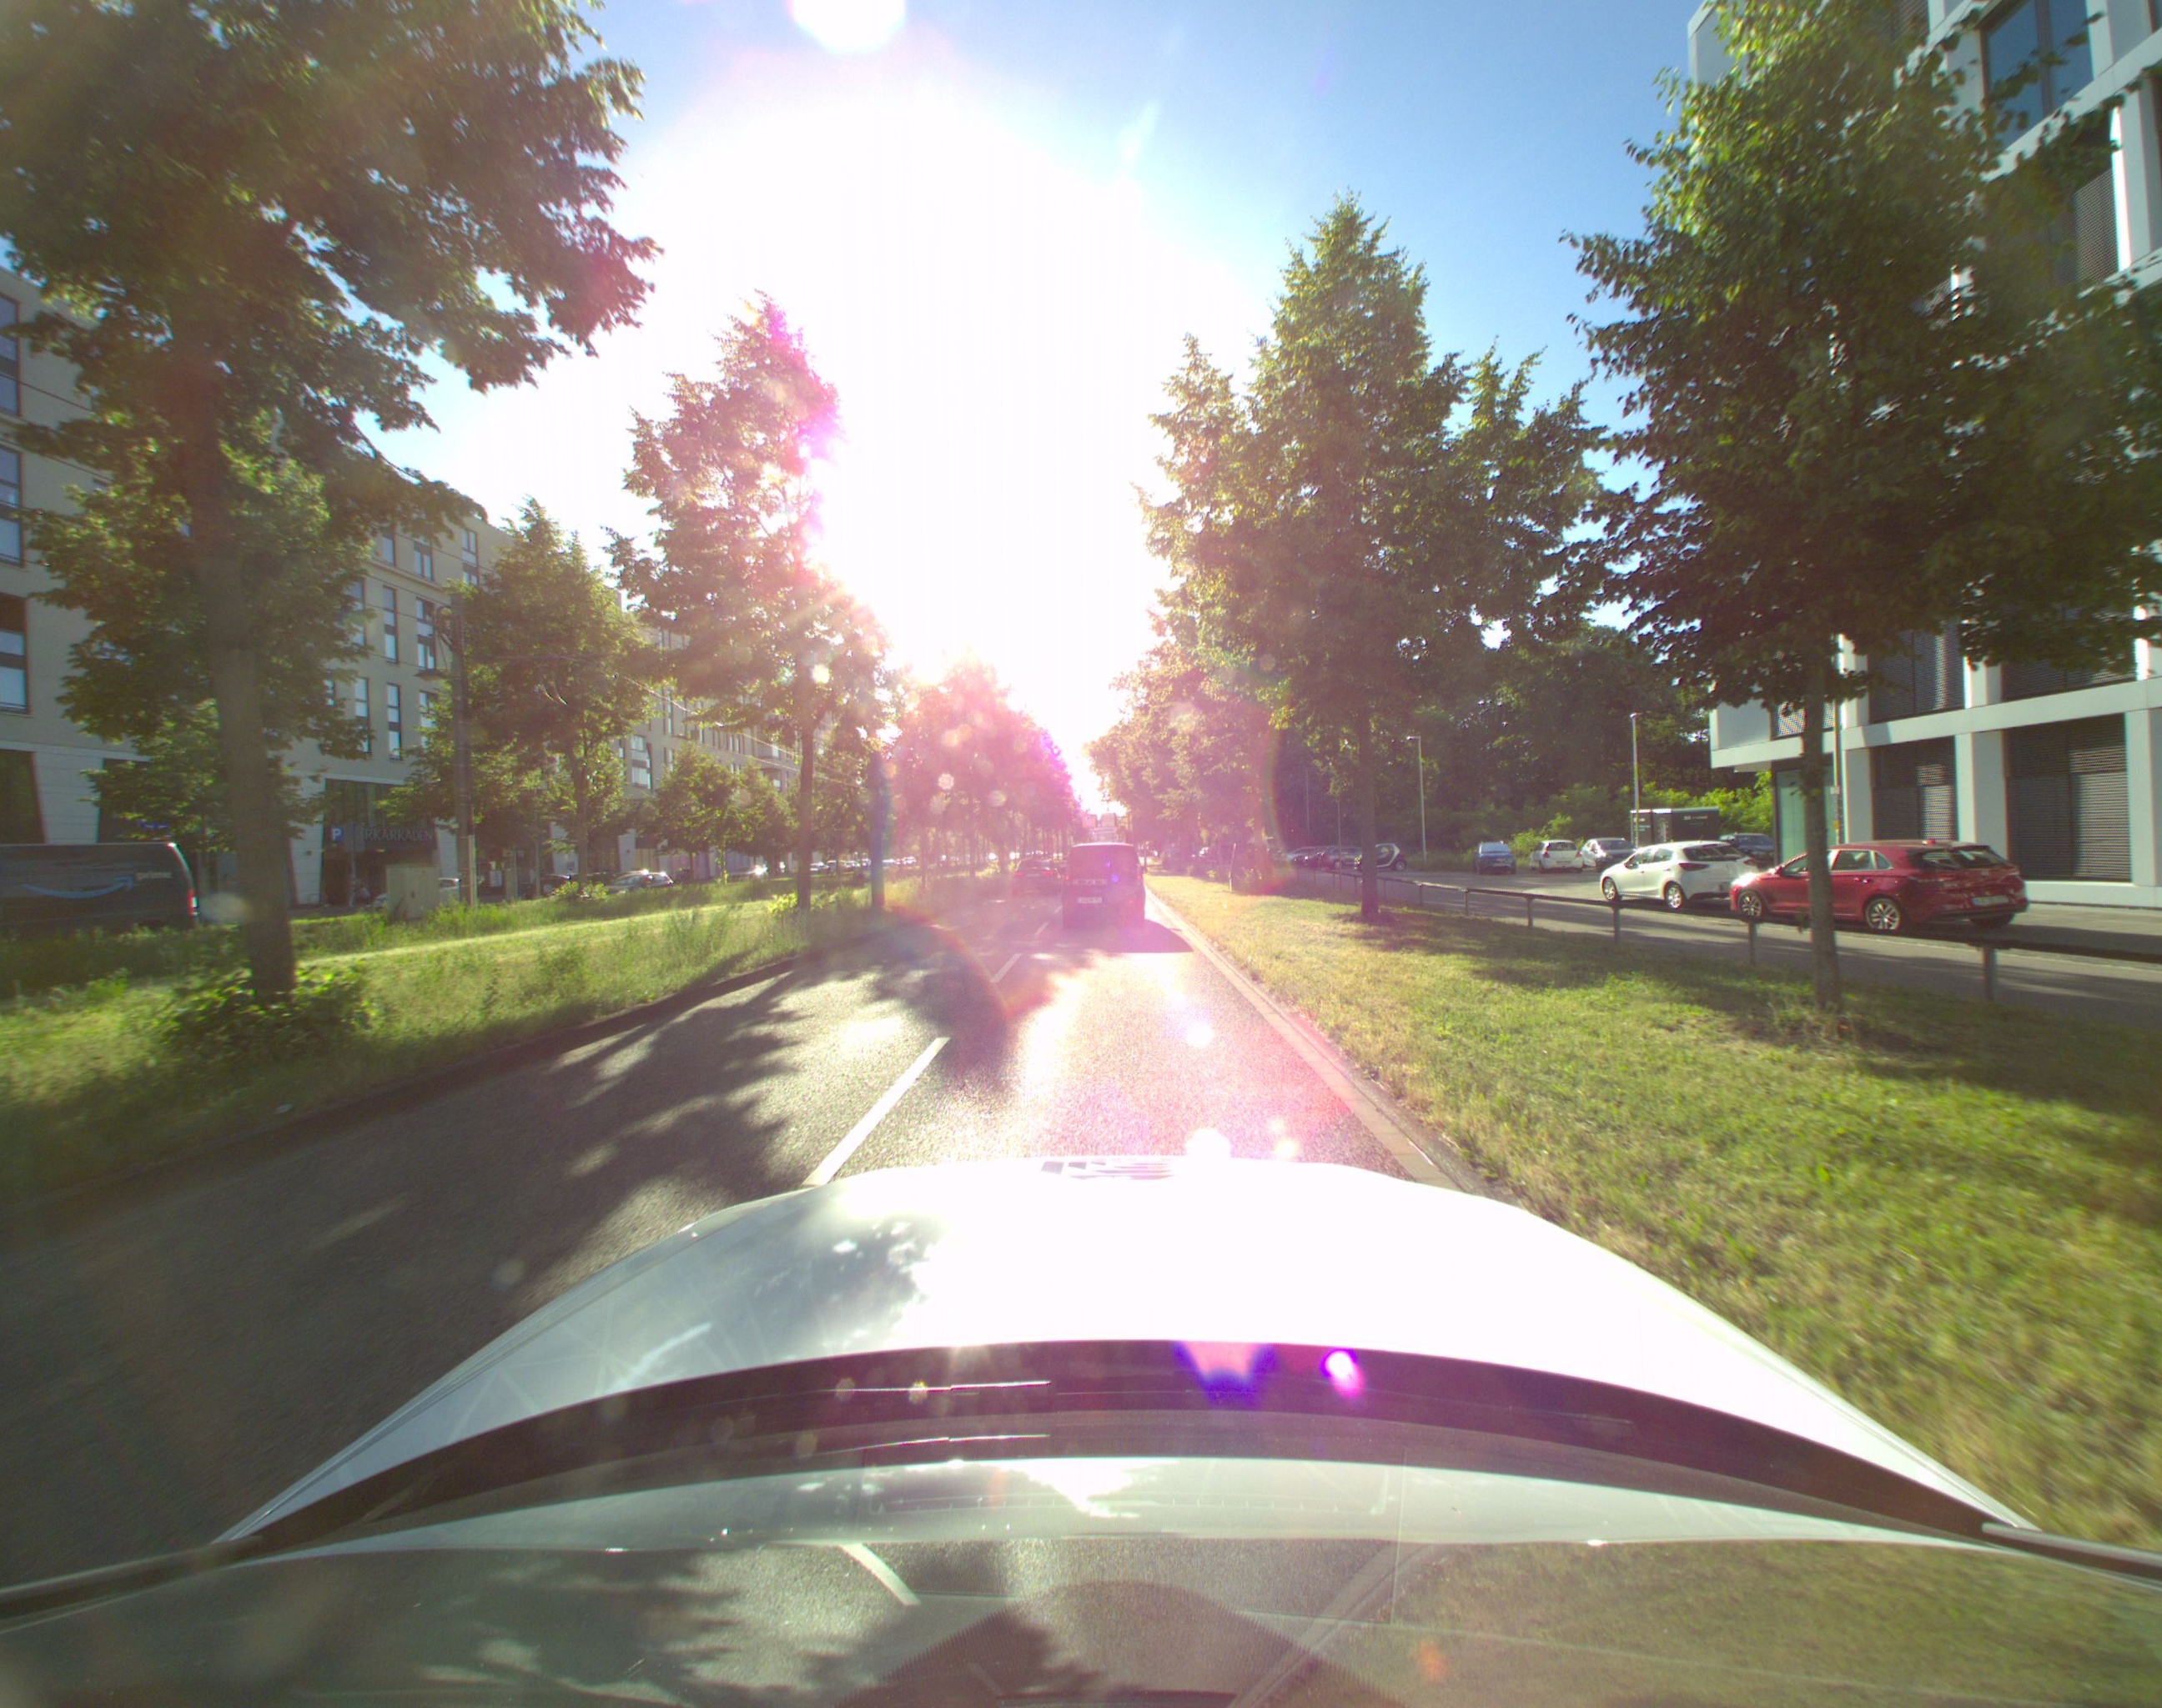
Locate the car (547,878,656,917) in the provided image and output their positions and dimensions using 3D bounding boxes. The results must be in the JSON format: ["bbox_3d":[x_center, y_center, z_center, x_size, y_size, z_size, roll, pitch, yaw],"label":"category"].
[{"bbox_3d":[-20.082,1.775,34.372,1.987,1.441,4.455,0,0,0],"label":"car"}]

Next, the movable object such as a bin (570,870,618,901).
[{"bbox_3d":[-29.308,1.866,49.070,1.964,1.794,1.556,0,0,0],"label":"movable object such as a bin"}]

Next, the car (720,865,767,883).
[{"bbox_3d":[-29.026,1.720,70.194,1.987,1.441,4.924,0,0,0],"label":"car"}]

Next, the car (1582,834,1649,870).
[{"bbox_3d":[24.398,-0.091,37.288,1.703,1.540,3.971,0,0,20],"label":"car"}]

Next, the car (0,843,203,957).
[{"bbox_3d":[-23.858,0.965,17.911,2.497,2.381,6.028,0,0,1],"label":"car"}]

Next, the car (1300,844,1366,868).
[{"bbox_3d":[18.115,0.154,58.638,4.179,1.498,1.781,-3,0,-1],"label":"car"}]

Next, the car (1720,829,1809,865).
[{"bbox_3d":[29.784,-0.280,35.630,1.766,1.496,3.901,0,0,20],"label":"car"}]

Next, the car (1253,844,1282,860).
[{"bbox_3d":[17.928,-0.184,78.474,1.986,1.574,4.001,0,0,2],"label":"car"}]

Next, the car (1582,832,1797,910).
[{"bbox_3d":[14.202,0.355,19.401,1.984,1.486,4.408,-5,0,5],"label":"car"}]

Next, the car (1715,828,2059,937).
[{"bbox_3d":[13.783,0.439,14.386,1.857,1.486,4.275,-5,0,2],"label":"car"}]

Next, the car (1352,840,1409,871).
[{"bbox_3d":[16.729,0.104,45.627,2.748,1.550,1.466,-3,-1,11],"label":"car"}]

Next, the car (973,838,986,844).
[{"bbox_3d":[-21.905,-2.763,176.368,1.904,1.325,4.615,0,0,3],"label":"car"}]

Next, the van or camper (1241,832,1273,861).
[{"bbox_3d":[18.157,-0.733,84.331,1.988,2.731,4.962,-5,0,-1],"label":"van or camper"}]

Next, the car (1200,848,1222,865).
[{"bbox_3d":[12.726,0.223,79.630,1.983,1.640,4.008,0,0,7],"label":"car"}]

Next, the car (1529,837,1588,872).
[{"bbox_3d":[22.199,0.050,37.987,1.732,1.536,3.901,0,0,20],"label":"car"}]

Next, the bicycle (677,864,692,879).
[{"bbox_3d":[-35.907,1.571,73.723,0.596,1.281,1.608,0,0,0],"label":"bicycle"}]

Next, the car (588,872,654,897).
[{"bbox_3d":[-29.556,1.954,52.460,1.987,1.441,4.018,0,0,0],"label":"car"}]

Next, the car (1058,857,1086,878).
[{"bbox_3d":[-0.639,1.050,64.194,1.986,1.618,4.002,0,0,2],"label":"car"}]

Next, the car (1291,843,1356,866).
[{"bbox_3d":[18.397,0.025,61.969,4.317,1.477,1.906,-4,1,-2],"label":"car"}]

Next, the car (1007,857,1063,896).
[{"bbox_3d":[-1.758,0.836,32.178,1.785,1.428,4.002,0,0,2],"label":"car"}]

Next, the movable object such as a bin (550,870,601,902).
[{"bbox_3d":[-29.341,1.859,47.267,1.964,1.794,1.556,0,0,0],"label":"movable object such as a bin"}]

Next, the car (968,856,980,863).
[{"bbox_3d":[-24.711,1.234,188.420,1.985,1.608,4.615,0,0,3],"label":"car"}]

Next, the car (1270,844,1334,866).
[{"bbox_3d":[18.306,0.093,67.641,4.701,1.406,2.001,-5,0,2],"label":"car"}]

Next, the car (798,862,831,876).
[{"bbox_3d":[-28.386,1.611,86.980,1.987,1.441,4.778,0,0,0],"label":"car"}]

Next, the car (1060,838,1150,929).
[{"bbox_3d":[0.464,0.600,18.510,1.803,1.838,3.998,0,0,-1],"label":"car"}]

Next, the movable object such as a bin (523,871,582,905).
[{"bbox_3d":[-29.292,1.850,45.208,1.964,1.794,2.010,0,0,-1],"label":"movable object such as a bin"}]

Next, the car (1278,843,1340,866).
[{"bbox_3d":[18.072,0.046,64.753,4.361,1.411,2.003,-6,0,4],"label":"car"}]

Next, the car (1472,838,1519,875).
[{"bbox_3d":[19.563,0.078,38.555,1.579,1.545,3.840,-3,1,22],"label":"car"}]

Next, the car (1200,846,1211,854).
[{"bbox_3d":[27.892,-0.914,182.438,1.985,1.640,4.003,0,0,3],"label":"car"}]

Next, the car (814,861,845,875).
[{"bbox_3d":[-28.319,1.579,91.826,1.986,1.441,4.458,0,0,2],"label":"car"}]

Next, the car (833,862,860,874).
[{"bbox_3d":[-28.039,1.671,97.521,1.987,1.441,4.455,0,0,0],"label":"car"}]

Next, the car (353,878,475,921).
[{"bbox_3d":[-30.225,2.027,37.119,1.987,1.729,4.337,0,0,0],"label":"car"}]

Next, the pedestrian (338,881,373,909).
[{"bbox_3d":[-38.609,2.181,43.348,0.946,1.468,1.025,0,0,-7],"label":"pedestrian"}]

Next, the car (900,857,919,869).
[{"bbox_3d":[-26.845,1.386,127.513,1.987,1.772,4.775,0,0,0],"label":"car"}]

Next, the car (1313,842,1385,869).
[{"bbox_3d":[17.502,0.107,53.304,4.063,1.468,1.717,-3,-1,2],"label":"car"}]

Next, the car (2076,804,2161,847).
[{"bbox_3d":[41.539,-1.125,31.520,1.978,1.617,4.019,0,2,18],"label":"car"}]

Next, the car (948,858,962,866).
[{"bbox_3d":[-25.776,1.533,166.477,1.871,1.621,4.615,0,0,3],"label":"car"}]

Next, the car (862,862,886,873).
[{"bbox_3d":[-27.882,1.767,109.822,1.987,1.441,4.455,0,0,0],"label":"car"}]

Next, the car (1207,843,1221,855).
[{"bbox_3d":[23.142,-0.888,141.773,2.076,2.013,4.952,-1,0,7],"label":"car"}]

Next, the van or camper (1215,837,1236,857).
[{"bbox_3d":[21.176,-1.089,119.591,2.543,2.684,6.577,-4,0,7],"label":"van or camper"}]

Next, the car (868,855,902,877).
[{"bbox_3d":[-18.575,1.123,77.449,1.984,2.014,4.005,0,0,5],"label":"car"}]
